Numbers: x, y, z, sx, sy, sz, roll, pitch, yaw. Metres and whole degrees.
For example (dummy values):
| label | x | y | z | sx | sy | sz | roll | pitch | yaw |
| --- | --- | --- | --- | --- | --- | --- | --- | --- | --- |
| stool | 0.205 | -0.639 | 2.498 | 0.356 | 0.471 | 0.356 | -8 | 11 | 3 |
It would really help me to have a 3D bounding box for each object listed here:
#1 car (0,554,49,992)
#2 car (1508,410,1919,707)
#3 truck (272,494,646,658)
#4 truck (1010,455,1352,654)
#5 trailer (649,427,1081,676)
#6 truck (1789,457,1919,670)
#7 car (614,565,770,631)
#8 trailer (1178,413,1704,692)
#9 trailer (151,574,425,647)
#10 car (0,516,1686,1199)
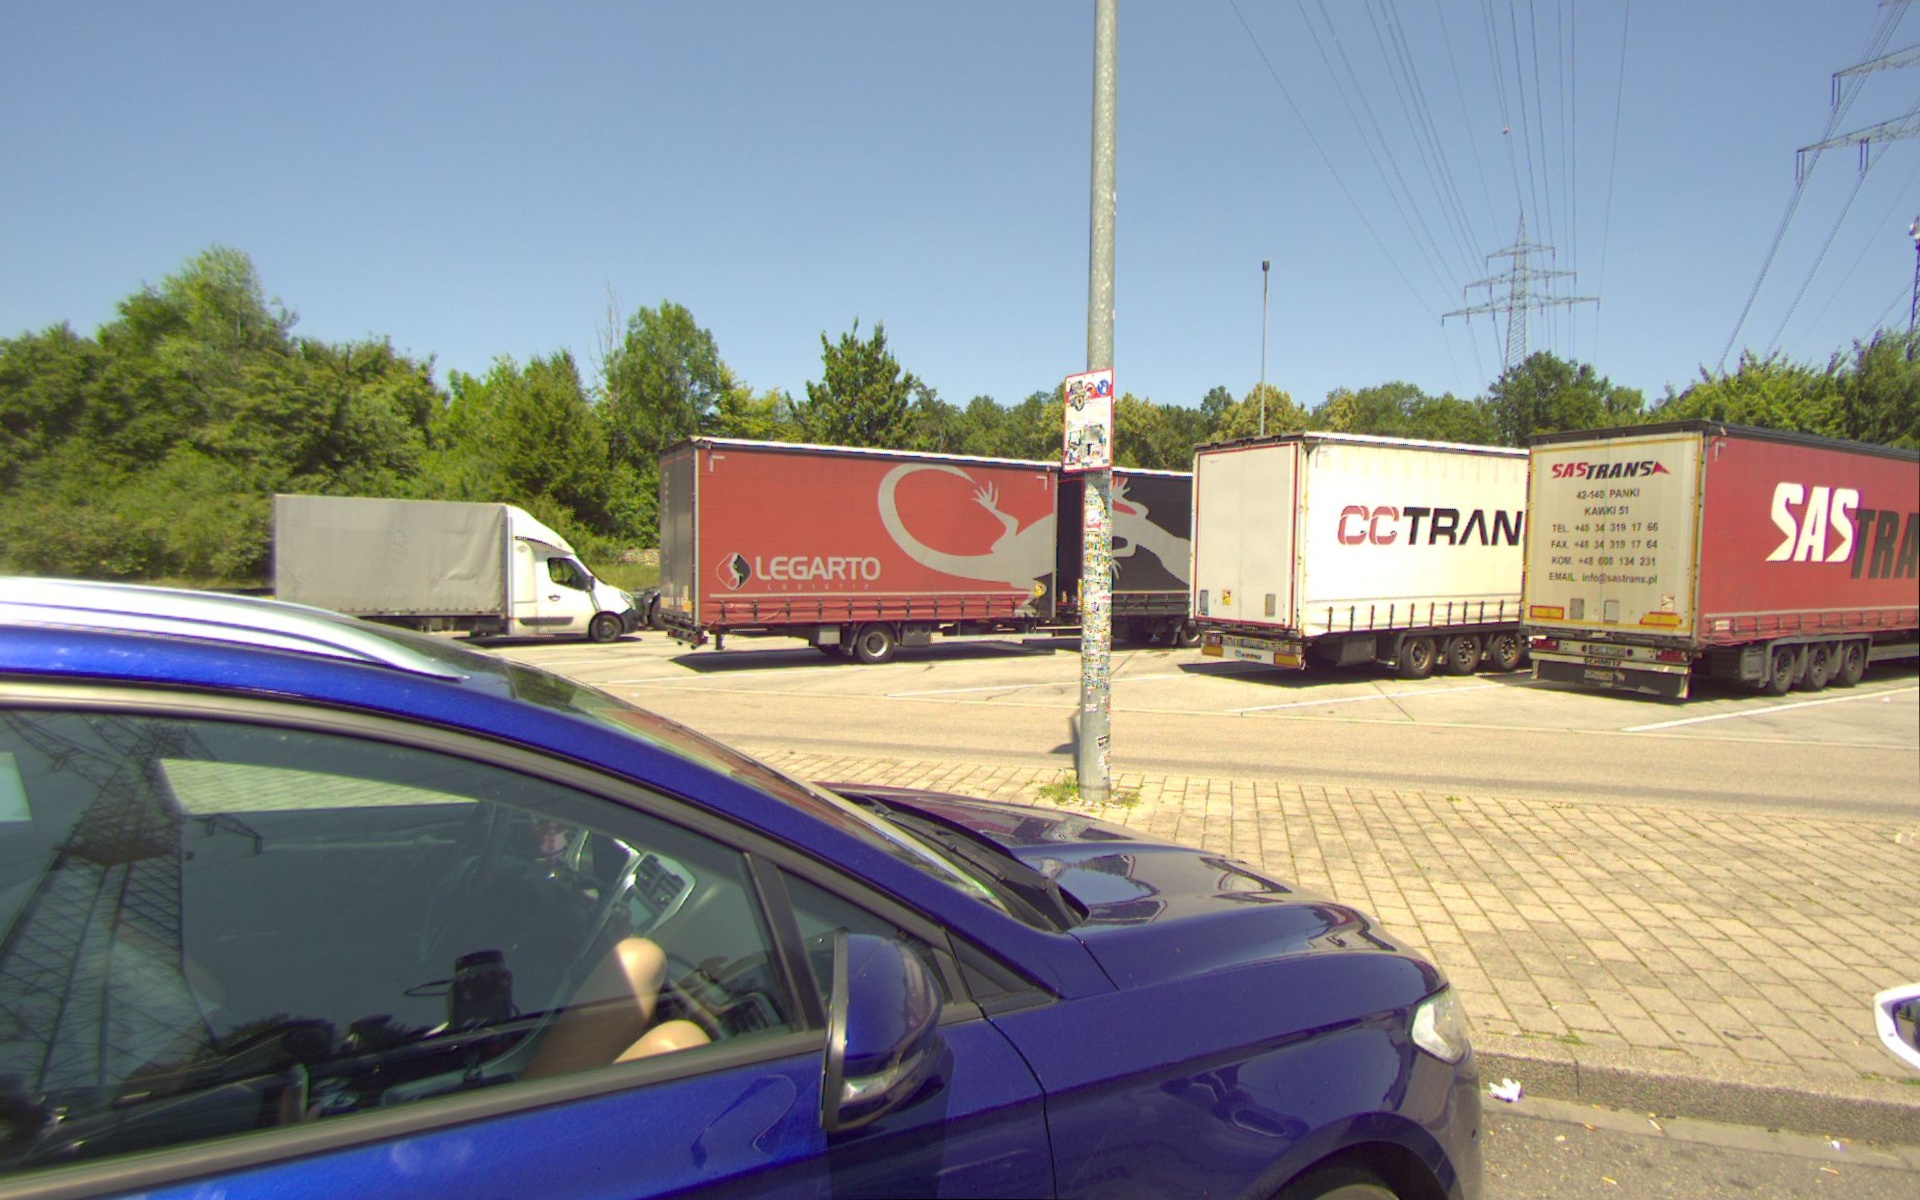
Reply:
| label | x | y | z | sx | sy | sz | roll | pitch | yaw |
| --- | --- | --- | --- | --- | --- | --- | --- | --- | --- |
| car | -4.599 | 0.557 | 2.124 | 3.700 | 1.432 | 1.595 | 0 | 0 | -32 |
| car | 15.230 | -0.696 | 18.462 | 12.777 | 4.169 | 2.683 | -1 | 3 | -30 |
| truck | -11.101 | -0.588 | 22.882 | 7.219 | 3.277 | 2.308 | -2 | 3 | -29 |
| truck | 5.616 | -1.082 | 24.836 | 8.683 | 4.248 | 2.800 | -1 | 2 | -30 |
| trailer | -1.730 | -0.932 | 20.512 | 8.389 | 4.248 | 2.800 | -1 | 2 | -30 |
| truck | 21.155 | -0.778 | 21.873 | 6.163 | 4.169 | 2.683 | -1 | 3 | -30 |
| car | -7.591 | -0.052 | 28.524 | 3.953 | 1.773 | 1.902 | 0 | 0 | -30 |
| trailer | 10.124 | -0.885 | 20.075 | 12.786 | 4.325 | 2.800 | -1 | 2 | -31 |
| trailer | -15.936 | 0.238 | 24.188 | 5.332 | 1.617 | 1.585 | 0 | 0 | -30 |
| car | -0.972 | 0.671 | 1.473 | 4.380 | 1.464 | 1.771 | 0 | 0 | -32 |
